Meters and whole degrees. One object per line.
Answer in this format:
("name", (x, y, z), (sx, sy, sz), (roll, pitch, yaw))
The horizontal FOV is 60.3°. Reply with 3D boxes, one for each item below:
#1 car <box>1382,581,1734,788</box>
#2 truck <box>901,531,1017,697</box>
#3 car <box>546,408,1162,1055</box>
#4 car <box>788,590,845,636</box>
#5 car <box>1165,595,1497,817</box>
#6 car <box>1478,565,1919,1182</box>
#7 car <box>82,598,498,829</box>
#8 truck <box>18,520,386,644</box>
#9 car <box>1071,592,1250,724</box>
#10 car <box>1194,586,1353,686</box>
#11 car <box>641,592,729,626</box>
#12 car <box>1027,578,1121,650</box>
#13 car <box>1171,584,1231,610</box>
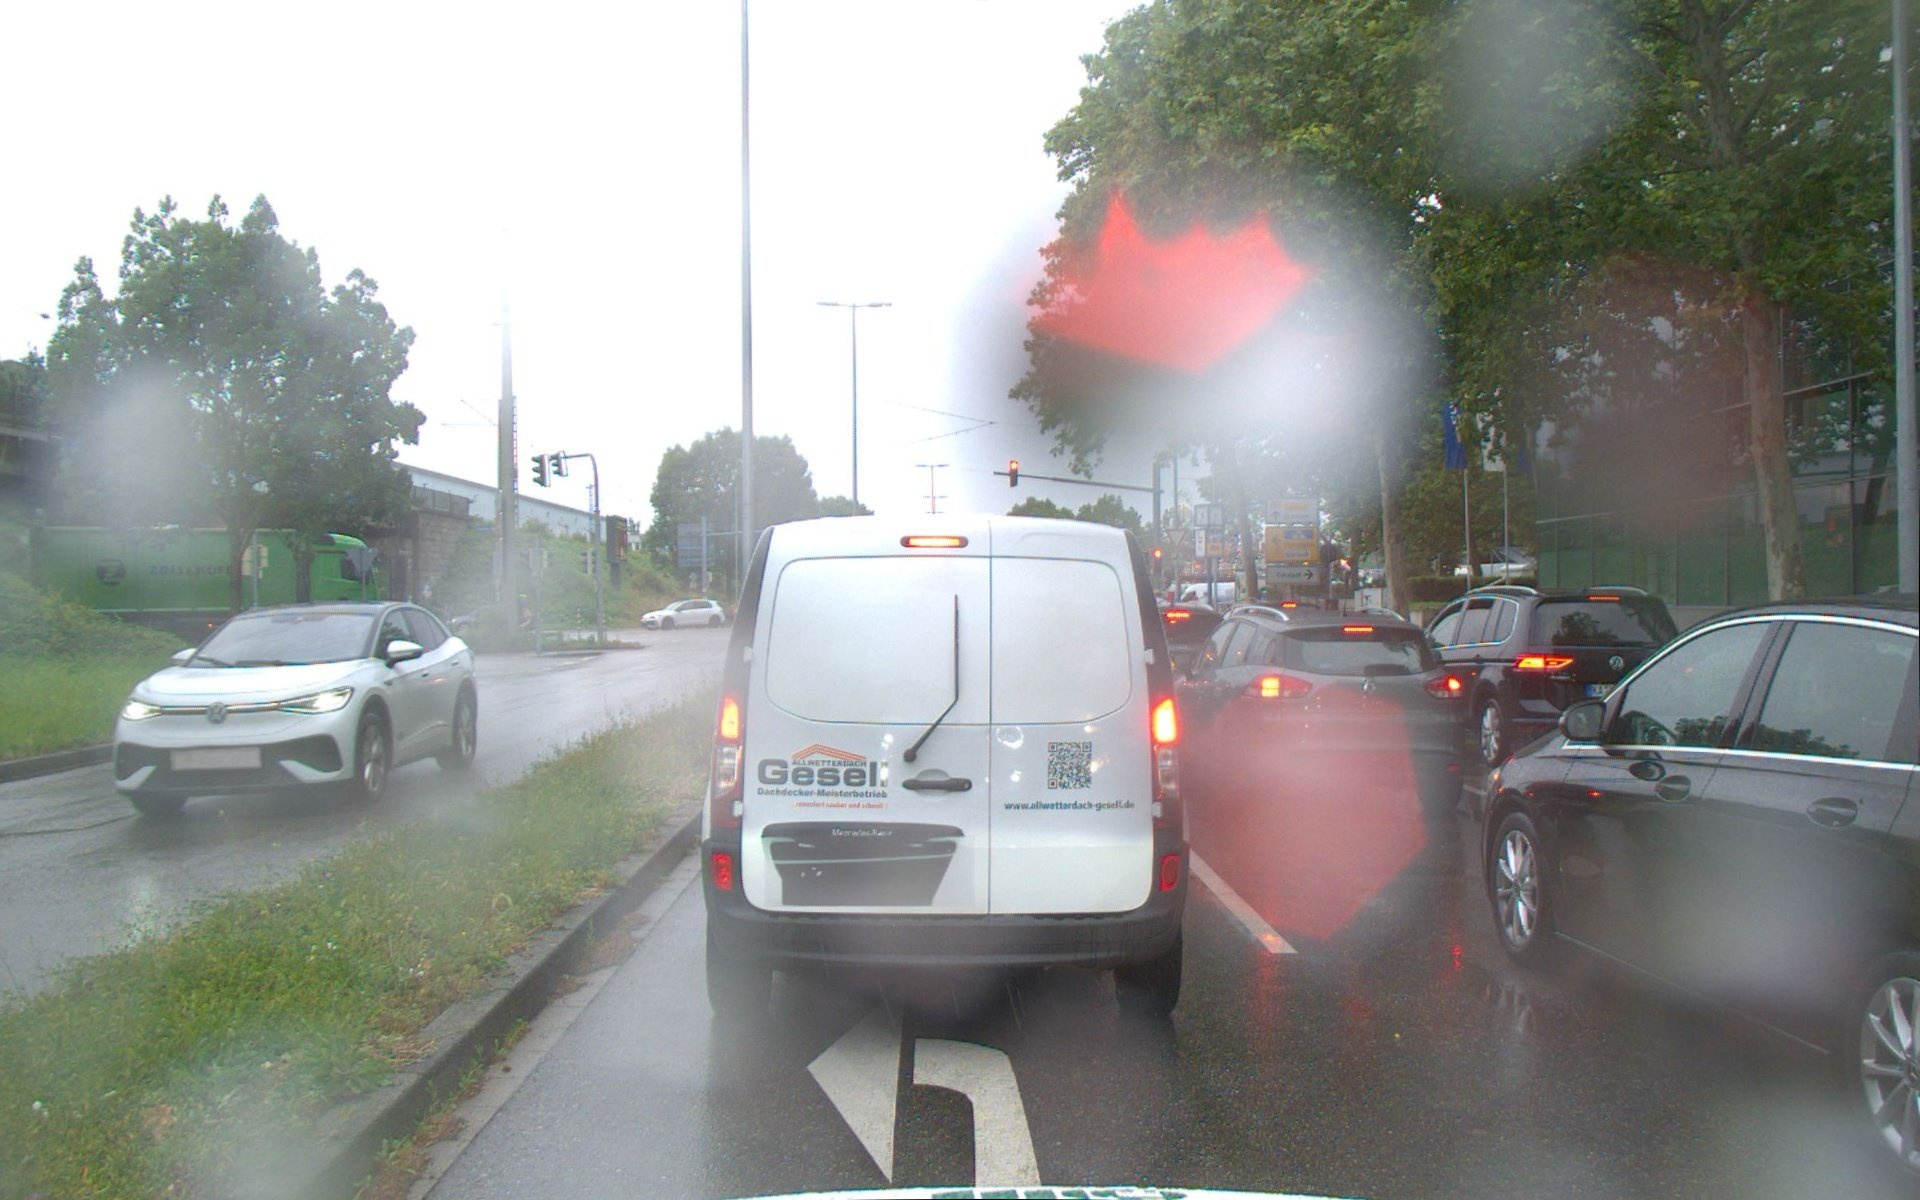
("car", (5.660, 0.740, 16.265), (1.819, 1.756, 4.188), (1, 0, -2))
("truck", (-0.089, 0.221, 27.033), (1.721, 2.509, 3.998), (0, 0, -3))
("car", (-0.414, 0.417, 7.291), (1.953, 2.049, 3.998), (0, 0, -3))
("car", (-5.303, 0.474, 61.464), (1.789, 1.596, 3.999), (-2, 0, -1))
("car", (2.738, 0.704, 13.107), (1.677, 1.470, 3.999), (0, 0, -1))
("car", (3.237, 0.682, 5.422), (1.674, 1.577, 3.998), (0, 1, -3))
("car", (-5.489, 0.823, 14.237), (1.923, 1.551, 4.332), (-2, 1, -3))
("truck", (-23.286, -0.407, 51.336), (10.037, 3.512, 2.622), (2, -2, -38))
("car", (2.391, 0.646, 20.586), (1.677, 1.470, 3.999), (0, 0, -1))
("car", (5.278, 0.585, 28.342), (1.802, 1.563, 4.110), (1, 0, -2))
("car", (-13.589, 0.441, 81.740), (3.953, 1.613, 1.697), (-1, 0, -35))
("car", (2.409, 0.275, 35.779), (1.677, 1.470, 3.999), (0, 0, -1))
("car", (16.914, -0.223, 116.035), (3.907, 1.743, 1.772), (0, -2, -2))
